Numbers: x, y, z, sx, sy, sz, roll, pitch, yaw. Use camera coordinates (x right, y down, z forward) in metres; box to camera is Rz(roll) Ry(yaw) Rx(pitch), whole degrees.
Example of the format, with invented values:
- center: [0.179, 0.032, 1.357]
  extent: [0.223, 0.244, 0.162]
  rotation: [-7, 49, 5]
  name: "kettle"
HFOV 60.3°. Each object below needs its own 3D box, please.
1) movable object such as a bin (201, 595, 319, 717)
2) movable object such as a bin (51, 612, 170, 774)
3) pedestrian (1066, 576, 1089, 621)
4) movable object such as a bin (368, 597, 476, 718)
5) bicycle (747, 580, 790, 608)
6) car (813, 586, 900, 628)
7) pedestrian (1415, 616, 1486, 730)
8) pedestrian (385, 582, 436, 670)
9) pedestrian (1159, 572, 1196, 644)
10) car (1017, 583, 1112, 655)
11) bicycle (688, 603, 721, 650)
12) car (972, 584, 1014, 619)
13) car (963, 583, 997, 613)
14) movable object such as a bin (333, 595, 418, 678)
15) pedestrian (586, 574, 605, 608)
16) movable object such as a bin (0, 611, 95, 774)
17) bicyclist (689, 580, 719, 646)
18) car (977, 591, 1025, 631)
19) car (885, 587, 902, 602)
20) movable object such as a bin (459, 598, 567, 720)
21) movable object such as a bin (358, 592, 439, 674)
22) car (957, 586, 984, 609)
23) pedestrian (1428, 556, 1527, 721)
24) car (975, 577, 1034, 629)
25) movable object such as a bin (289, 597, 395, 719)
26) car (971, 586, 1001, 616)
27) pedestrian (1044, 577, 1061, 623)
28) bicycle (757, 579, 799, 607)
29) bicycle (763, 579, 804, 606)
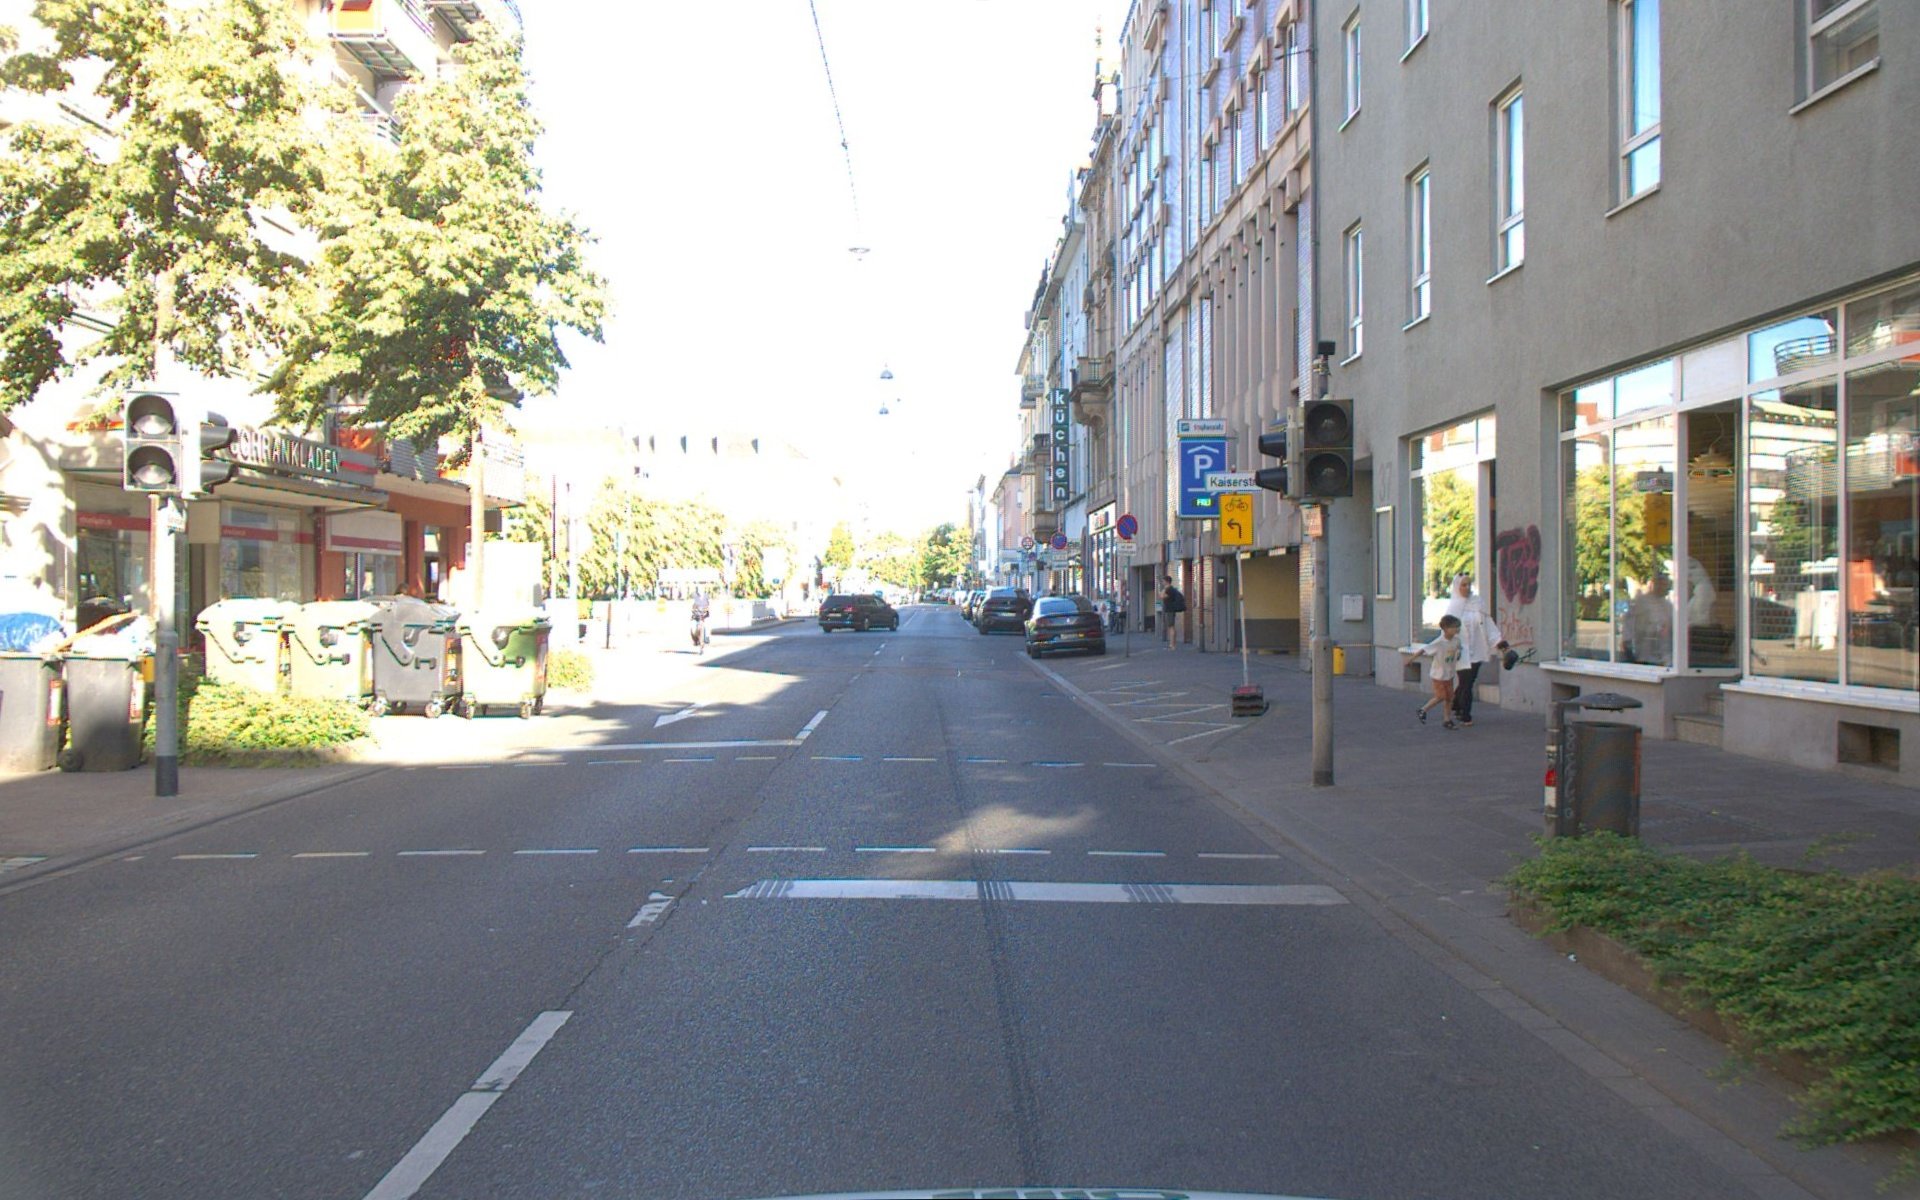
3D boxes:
- center: [-8.970, 0.703, 21.246]
  extent: [1.021, 1.497, 1.143]
  rotation: [-1, 0, -2]
  name: "movable object such as a bin"
- center: [-7.460, 0.795, 14.556]
  extent: [0.621, 1.364, 0.805]
  rotation: [-1, 0, -2]
  name: "movable object such as a bin"
- center: [4.533, -0.052, 63.972]
  extent: [0.784, 1.704, 0.589]
  rotation: [-2, 0, 2]
  name: "pedestrian"
- center: [-6.938, 0.726, 21.378]
  extent: [1.021, 1.497, 1.143]
  rotation: [-1, 0, -2]
  name: "movable object such as a bin"
- center: [-14.118, -0.476, 121.893]
  extent: [3.054, 2.049, 0.909]
  rotation: [0, 0, 8]
  name: "bicycle"
- center: [-3.908, 0.221, 63.133]
  extent: [1.894, 1.513, 4.273]
  rotation: [0, 1, 18]
  name: "car"
- center: [4.757, 0.697, 16.059]
  extent: [0.385, 1.051, 0.739]
  rotation: [-3, 0, -2]
  name: "pedestrian"
- center: [-10.768, 0.496, 32.445]
  extent: [0.651, 1.688, 1.036]
  rotation: [-1, 0, -2]
  name: "pedestrian"
- center: [5.199, 0.183, 39.597]
  extent: [0.678, 1.664, 0.889]
  rotation: [-3, 1, -2]
  name: "pedestrian"
- center: [2.509, 0.415, 40.809]
  extent: [1.879, 1.504, 4.964]
  rotation: [-4, 1, -1]
  name: "car"
- center: [-6.649, 0.682, 43.091]
  extent: [0.692, 1.166, 1.965]
  rotation: [-1, 0, -5]
  name: "bicycle"
- center: [1.521, 0.048, 77.647]
  extent: [1.802, 1.573, 4.227]
  rotation: [1, 1, -2]
  name: "car"
- center: [1.144, -0.118, 96.173]
  extent: [1.682, 1.664, 4.082]
  rotation: [1, -1, -3]
  name: "car"
- center: [-10.042, 0.604, 28.467]
  extent: [1.021, 1.369, 1.313]
  rotation: [-1, 0, -2]
  name: "movable object such as a bin"
- center: [-23.201, -0.548, 105.306]
  extent: [0.717, 2.145, 0.967]
  rotation: [0, 0, 21]
  name: "pedestrian"
- center: [-8.160, 0.793, 14.488]
  extent: [0.739, 1.364, 0.805]
  rotation: [-1, 0, -2]
  name: "movable object such as a bin"
- center: [-6.654, 0.323, 43.068]
  extent: [0.683, 1.682, 1.035]
  rotation: [-1, 0, -6]
  name: "bicyclist"
- center: [1.628, 0.421, 67.272]
  extent: [1.801, 1.513, 4.184]
  rotation: [1, 1, -1]
  name: "car"
- center: [-8.464, -0.691, 211.465]
  extent: [1.952, 1.802, 4.001]
  rotation: [1, 1, 0]
  name: "car"
- center: [-5.783, 0.736, 21.477]
  extent: [1.021, 1.497, 1.452]
  rotation: [-1, 0, -2]
  name: "movable object such as a bin"
- center: [-10.111, 0.578, 29.827]
  extent: [1.021, 1.428, 1.313]
  rotation: [-1, 0, -2]
  name: "movable object such as a bin"
- center: [0.704, -0.177, 113.753]
  extent: [1.756, 1.485, 3.867]
  rotation: [1, -1, -1]
  name: "car"
- center: [5.236, 0.375, 16.771]
  extent: [0.569, 1.586, 1.020]
  rotation: [-3, 0, -2]
  name: "pedestrian"
- center: [1.591, 0.074, 60.272]
  extent: [1.933, 1.755, 4.823]
  rotation: [1, 1, -1]
  name: "car"
- center: [-7.937, 0.726, 21.295]
  extent: [0.944, 1.497, 1.143]
  rotation: [-1, 0, -2]
  name: "movable object such as a bin"
- center: [1.425, 0.022, 90.697]
  extent: [1.580, 1.573, 2.855]
  rotation: [1, 1, 0]
  name: "car"
- center: [3.582, -0.004, 64.017]
  extent: [0.607, 1.797, 0.518]
  rotation: [-1, 0, 2]
  name: "pedestrian"
- center: [-13.742, -0.535, 124.893]
  extent: [3.054, 2.049, 0.909]
  rotation: [0, 0, 8]
  name: "bicycle"
- center: [-13.560, -0.553, 127.017]
  extent: [3.054, 2.049, 0.909]
  rotation: [0, 0, 8]
  name: "bicycle"
